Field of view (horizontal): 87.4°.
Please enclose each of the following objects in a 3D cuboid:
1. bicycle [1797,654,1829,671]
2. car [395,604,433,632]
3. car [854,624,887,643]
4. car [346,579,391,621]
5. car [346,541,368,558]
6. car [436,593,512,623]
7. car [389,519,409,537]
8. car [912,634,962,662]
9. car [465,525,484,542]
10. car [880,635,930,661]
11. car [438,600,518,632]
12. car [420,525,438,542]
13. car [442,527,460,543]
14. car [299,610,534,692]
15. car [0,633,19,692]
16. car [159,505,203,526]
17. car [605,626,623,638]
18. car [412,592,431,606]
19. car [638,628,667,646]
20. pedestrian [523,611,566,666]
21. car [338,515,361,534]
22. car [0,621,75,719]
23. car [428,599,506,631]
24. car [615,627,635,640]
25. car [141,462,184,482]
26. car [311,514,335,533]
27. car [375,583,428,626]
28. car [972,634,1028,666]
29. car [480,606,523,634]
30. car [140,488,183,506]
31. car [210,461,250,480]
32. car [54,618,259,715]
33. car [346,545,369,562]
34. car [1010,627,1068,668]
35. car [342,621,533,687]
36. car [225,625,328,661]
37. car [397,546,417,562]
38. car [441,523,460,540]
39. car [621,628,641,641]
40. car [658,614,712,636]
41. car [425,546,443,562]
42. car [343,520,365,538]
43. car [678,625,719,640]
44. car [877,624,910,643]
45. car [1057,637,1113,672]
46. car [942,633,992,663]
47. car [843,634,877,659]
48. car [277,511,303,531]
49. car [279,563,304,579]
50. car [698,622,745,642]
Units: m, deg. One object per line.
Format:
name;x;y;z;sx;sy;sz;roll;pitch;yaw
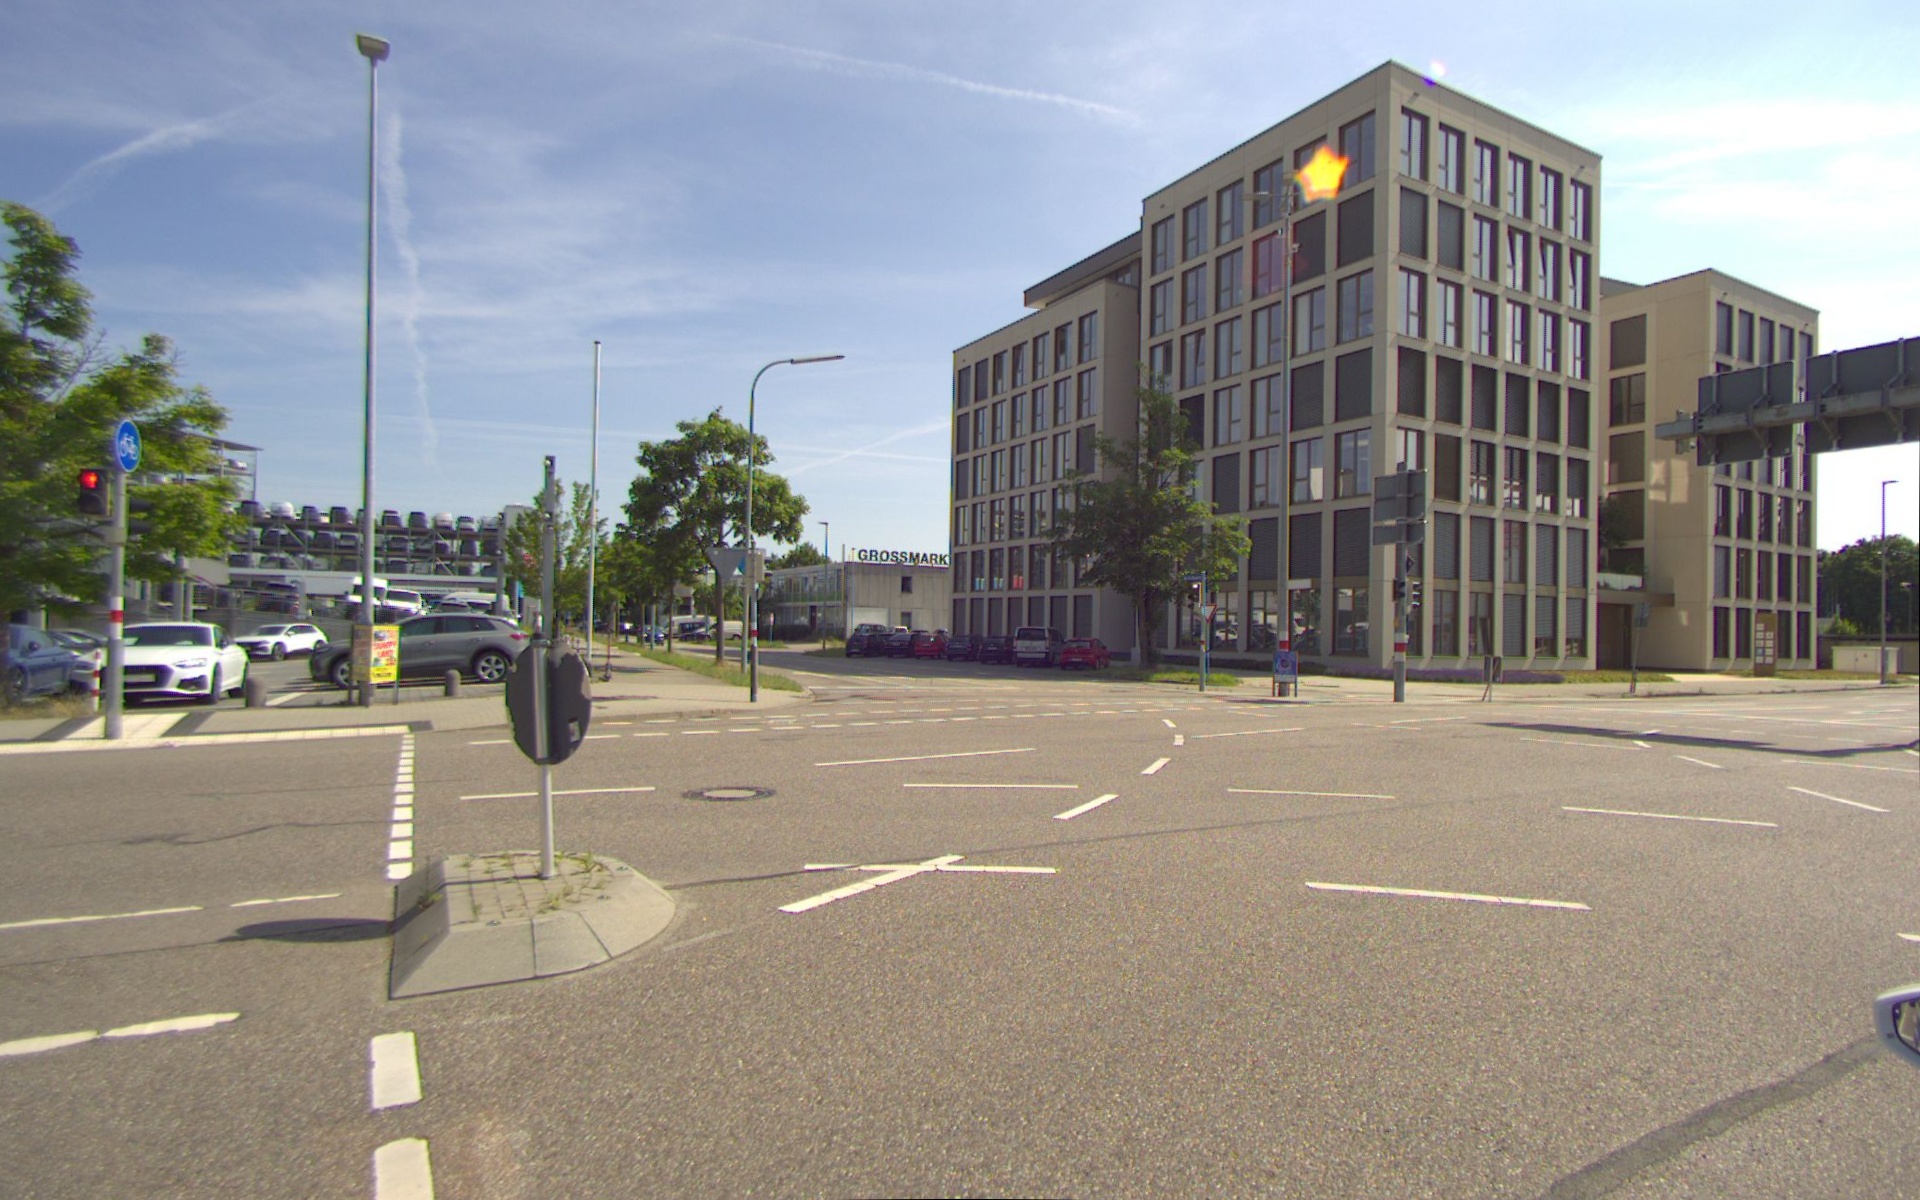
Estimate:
bicycle;62.258;4.556;73.354;0.581;1.106;1.696;2;-1;-27
car;-33.460;1.069;61.634;1.975;1.595;3.956;2;0;-28
car;-8.284;3.075;92.670;1.726;1.706;3.974;2;-1;-26
car;-35.559;-0.016;60.475;2.063;2.374;5.510;1;0;-28
car;-75.273;-6.253;125.380;2.012;1.739;3.971;2;-2;-28
car;-34.839;0.611;72.061;4.697;2.040;1.984;2;-2;-31
car;-68.073;-8.713;121.953;2.012;1.739;3.971;2;-2;-28
car;-1.311;2.771;58.458;1.655;1.499;4.001;0;-1;18
car;-61.064;-8.332;126.389;2.012;1.739;3.971;2;-2;-28
car;-3.263;2.866;60.759;1.686;1.434;4.001;0;-1;18
car;-32.320;1.100;67.394;4.697;2.040;1.984;2;-2;-31
car;-68.909;-8.573;130.291;2.012;1.739;3.971;2;-2;-28
car;-66.690;-8.509;131.491;2.012;1.739;3.971;2;-2;-28
car;-12.319;1.091;23.017;4.539;1.635;1.806;-1;-1;-29
car;-23.705;1.388;22.401;3.640;1.323;1.597;2;-2;-31
car;-93.029;-10.067;120.015;3.957;2.040;1.982;3;1;-33
car;-54.171;5.020;157.386;2.012;1.739;3.971;2;-2;-28
car;-69.599;-0.104;129.825;2.012;1.739;3.971;2;-2;-28
car;-23.776;2.867;77.673;1.637;1.306;3.781;2;-2;-24
pedestrian;-13.623;1.254;32.951;0.984;1.772;0.917;1;-2;-2
car;-71.630;-8.818;117.901;2.012;1.739;3.971;2;-2;-28
car;-15.657;1.041;15.902;1.744;1.421;3.815;2;-2;-31
car;-33.906;1.059;69.128;4.697;2.040;1.984;2;-2;-31
car;-49.050;4.924;147.050;2.012;1.739;3.971;2;-2;-28
car;-98.769;-15.861;124.403;3.959;1.739;2.018;3;-2;-34
car;-73.704;-8.878;116.239;2.012;1.739;3.971;2;-2;-28
car;-28.676;0.245;51.513;2.066;1.932;4.509;6;-3;-31
car;2.139;2.552;52.122;1.772;1.533;4.000;0;-1;20
car;-29.153;1.252;63.817;1.978;1.595;3.952;2;0;-31
car;-98.846;-12.730;124.345;3.959;1.739;2.018;3;-2;-34
car;-92.512;-16.379;127.298;3.959;1.739;2.018;3;-2;-34
car;-13.649;1.060;17.363;1.875;1.451;4.357;2;-2;-27
car;-71.806;-5.525;119.705;2.012;1.739;3.971;2;-2;-28
car;3.954;2.284;49.414;1.860;1.845;4.816;0;-1;17
car;-13.236;1.315;25.559;4.151;1.461;1.779;-1;-1;-31
car;-30.031;1.868;44.290;1.762;1.461;4.028;1;-2;0
car;-70.836;-5.872;128.720;2.012;1.739;3.971;2;-2;-28
car;-63.427;-8.484;125.126;2.012;1.739;3.971;2;-2;-28
car;-46.747;4.840;142.732;2.012;1.739;3.971;2;-2;-28
car;-33.100;3.043;120.853;5.827;2.463;2.361;2;-2;-26
car;-66.711;-5.797;127.369;2.012;1.739;3.971;2;-2;-28
car;-75.685;-8.859;125.473;2.012;1.739;3.971;2;-2;-28
car;-28.055;3.480;107.753;3.833;1.470;1.752;2;-2;-30
car;-6.253;3.117;94.105;1.678;1.706;3.939;2;-1;-26
car;5.792;2.474;46.233;1.772;1.434;4.031;0;-1;18
car;0.430;2.636;55.660;1.628;1.517;3.965;0;-1;18
car;-6.111;2.835;61.647;1.638;1.434;3.617;1;-1;1
car;-76.198;-8.984;114.298;2.012;1.739;3.971;2;-2;-28
car;-79.398;-3.423;119.413;2.012;1.739;3.971;2;-2;-28
car;-23.837;3.204;100.298;4.189;1.965;1.885;2;-2;-30
